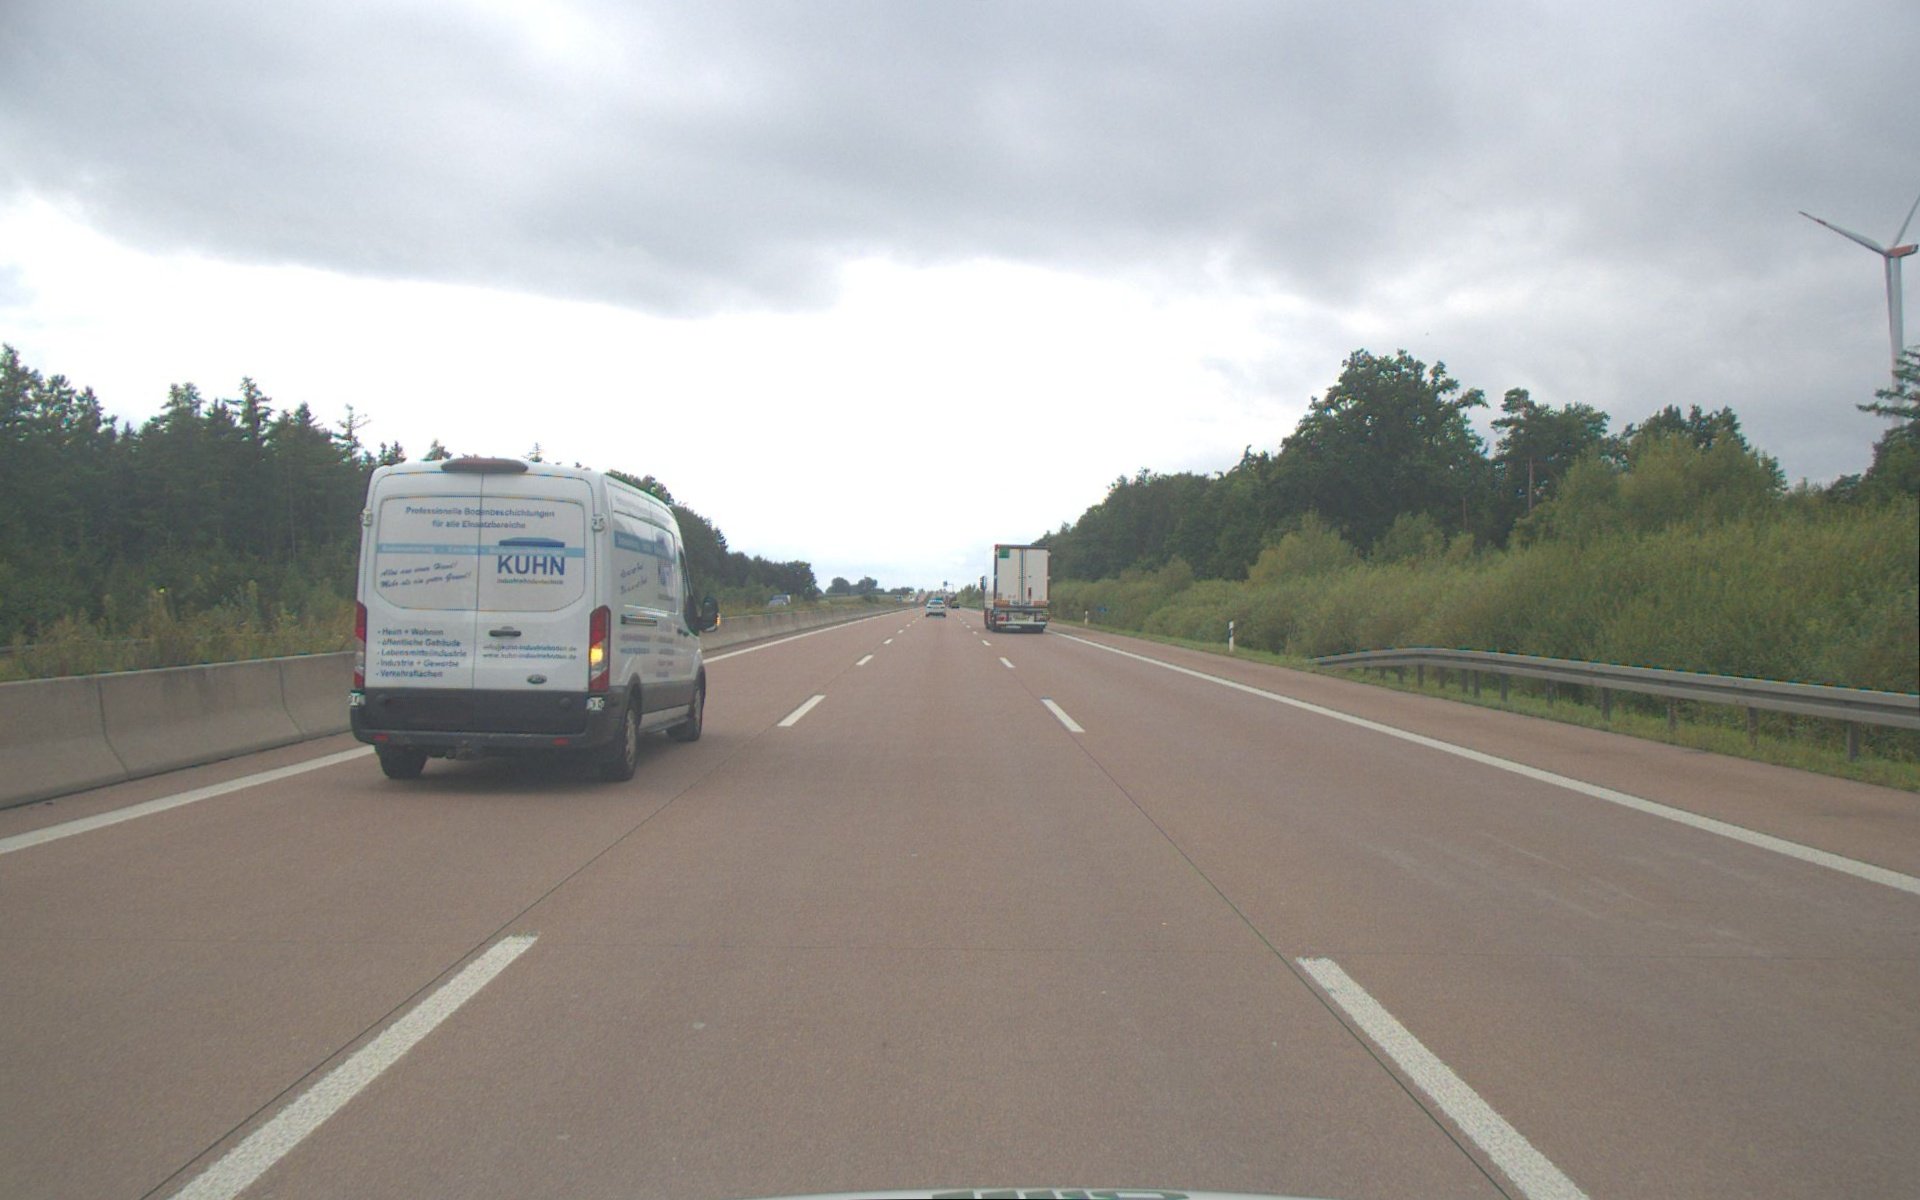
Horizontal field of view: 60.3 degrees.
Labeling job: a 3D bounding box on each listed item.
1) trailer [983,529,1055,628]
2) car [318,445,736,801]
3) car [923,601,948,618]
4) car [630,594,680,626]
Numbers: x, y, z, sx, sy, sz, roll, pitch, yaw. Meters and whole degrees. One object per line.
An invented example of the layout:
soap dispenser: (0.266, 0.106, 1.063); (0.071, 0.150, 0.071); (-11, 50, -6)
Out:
trailer: (2.735, -0.977, 81.191); (2.862, 4.369, 13.611); (1, 0, -1)
car: (-3.598, 0.148, 15.469); (2.094, 2.551, 7.130); (0, 0, -1)
car: (-2.190, 0.855, 149.180); (2.119, 1.476, 4.719); (2, 0, 1)
car: (-17.126, 0.526, 93.010); (1.953, 1.710, 4.886); (-1, 0, -1)
